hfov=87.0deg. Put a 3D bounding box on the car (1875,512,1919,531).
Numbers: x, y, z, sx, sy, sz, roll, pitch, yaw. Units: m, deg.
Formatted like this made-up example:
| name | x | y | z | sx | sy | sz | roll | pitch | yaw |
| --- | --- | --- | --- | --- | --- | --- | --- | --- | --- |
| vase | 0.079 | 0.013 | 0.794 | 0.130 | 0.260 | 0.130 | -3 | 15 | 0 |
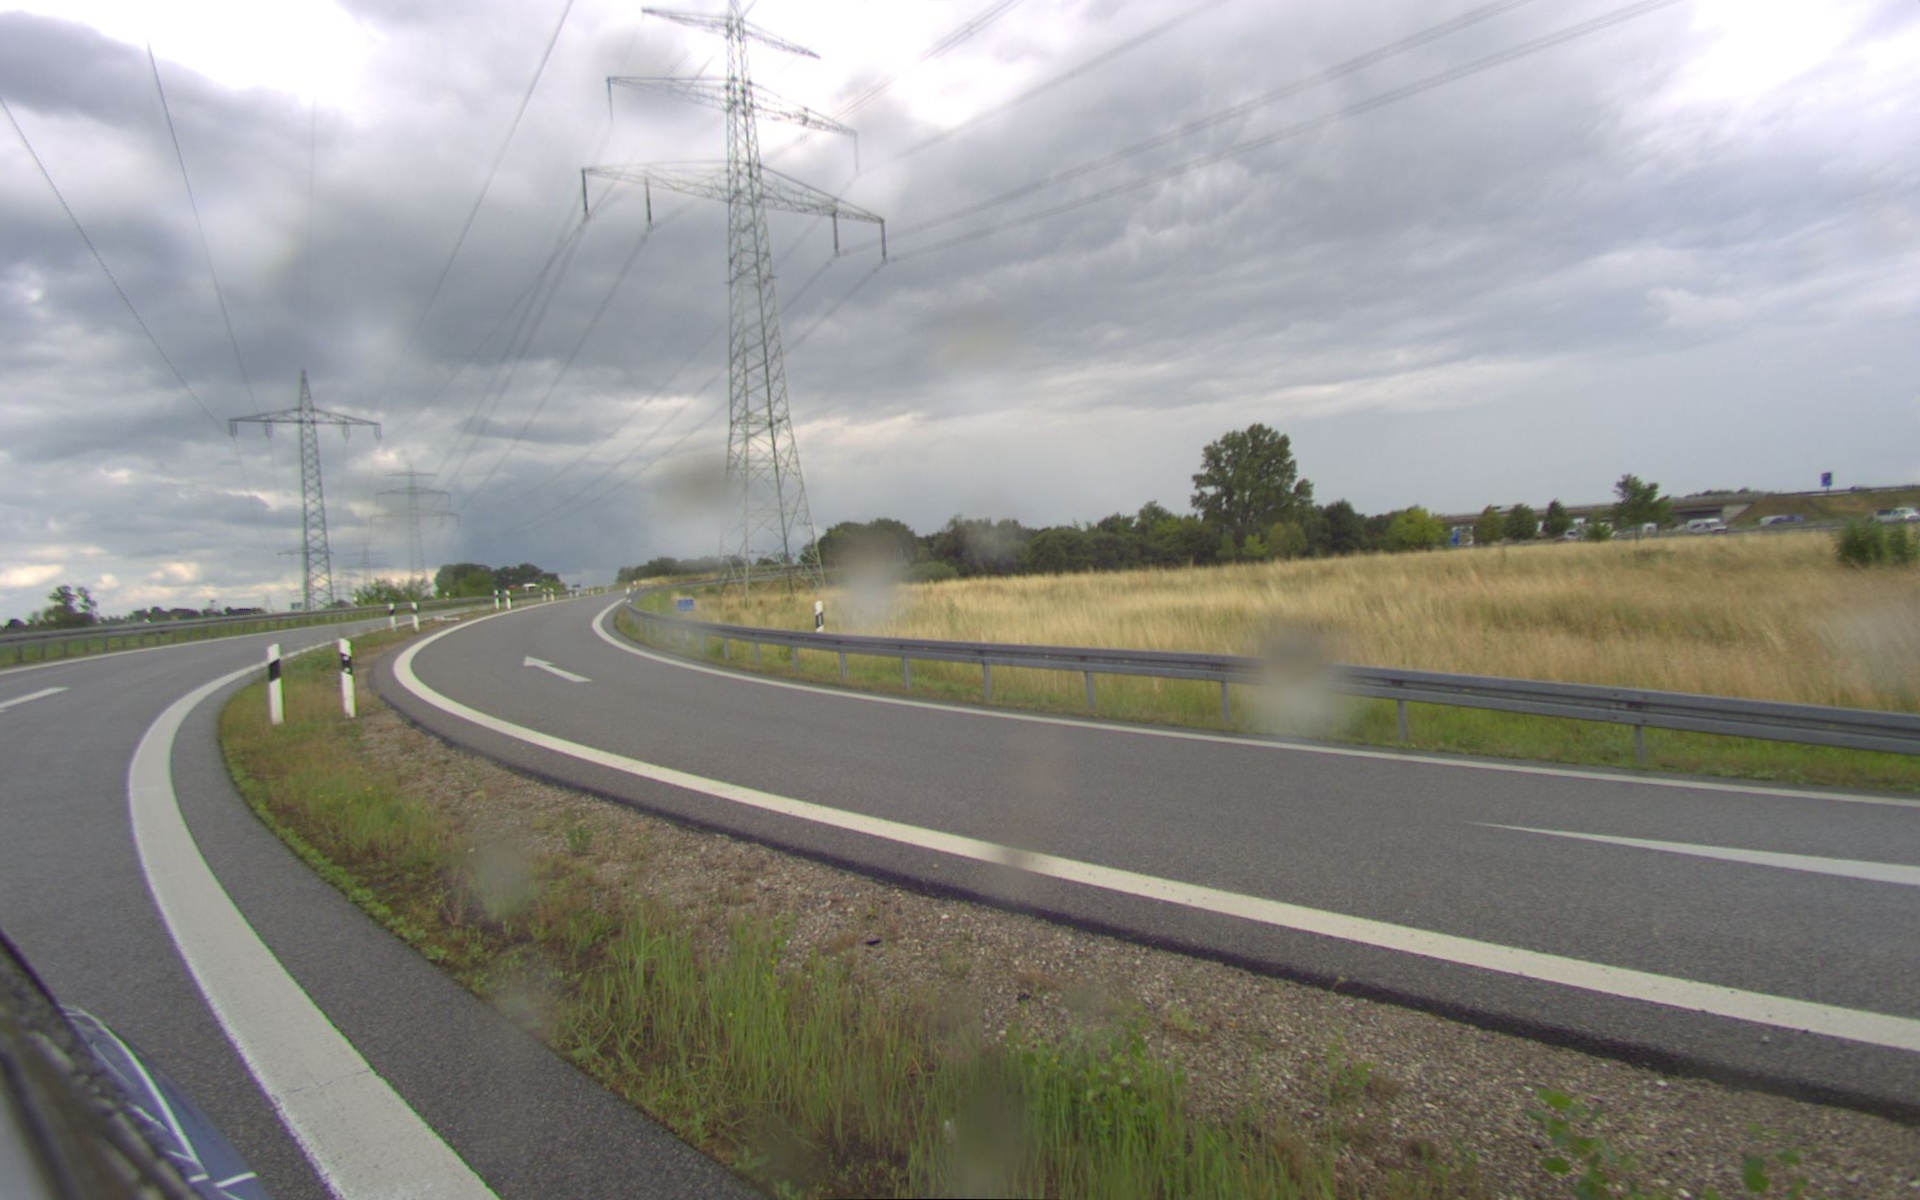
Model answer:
| name | x | y | z | sx | sy | sz | roll | pitch | yaw |
| --- | --- | --- | --- | --- | --- | --- | --- | --- | --- |
| car | 110.812 | -9.241 | 118.988 | 1.971 | 1.946 | 4.779 | -3 | 1 | -3 |
